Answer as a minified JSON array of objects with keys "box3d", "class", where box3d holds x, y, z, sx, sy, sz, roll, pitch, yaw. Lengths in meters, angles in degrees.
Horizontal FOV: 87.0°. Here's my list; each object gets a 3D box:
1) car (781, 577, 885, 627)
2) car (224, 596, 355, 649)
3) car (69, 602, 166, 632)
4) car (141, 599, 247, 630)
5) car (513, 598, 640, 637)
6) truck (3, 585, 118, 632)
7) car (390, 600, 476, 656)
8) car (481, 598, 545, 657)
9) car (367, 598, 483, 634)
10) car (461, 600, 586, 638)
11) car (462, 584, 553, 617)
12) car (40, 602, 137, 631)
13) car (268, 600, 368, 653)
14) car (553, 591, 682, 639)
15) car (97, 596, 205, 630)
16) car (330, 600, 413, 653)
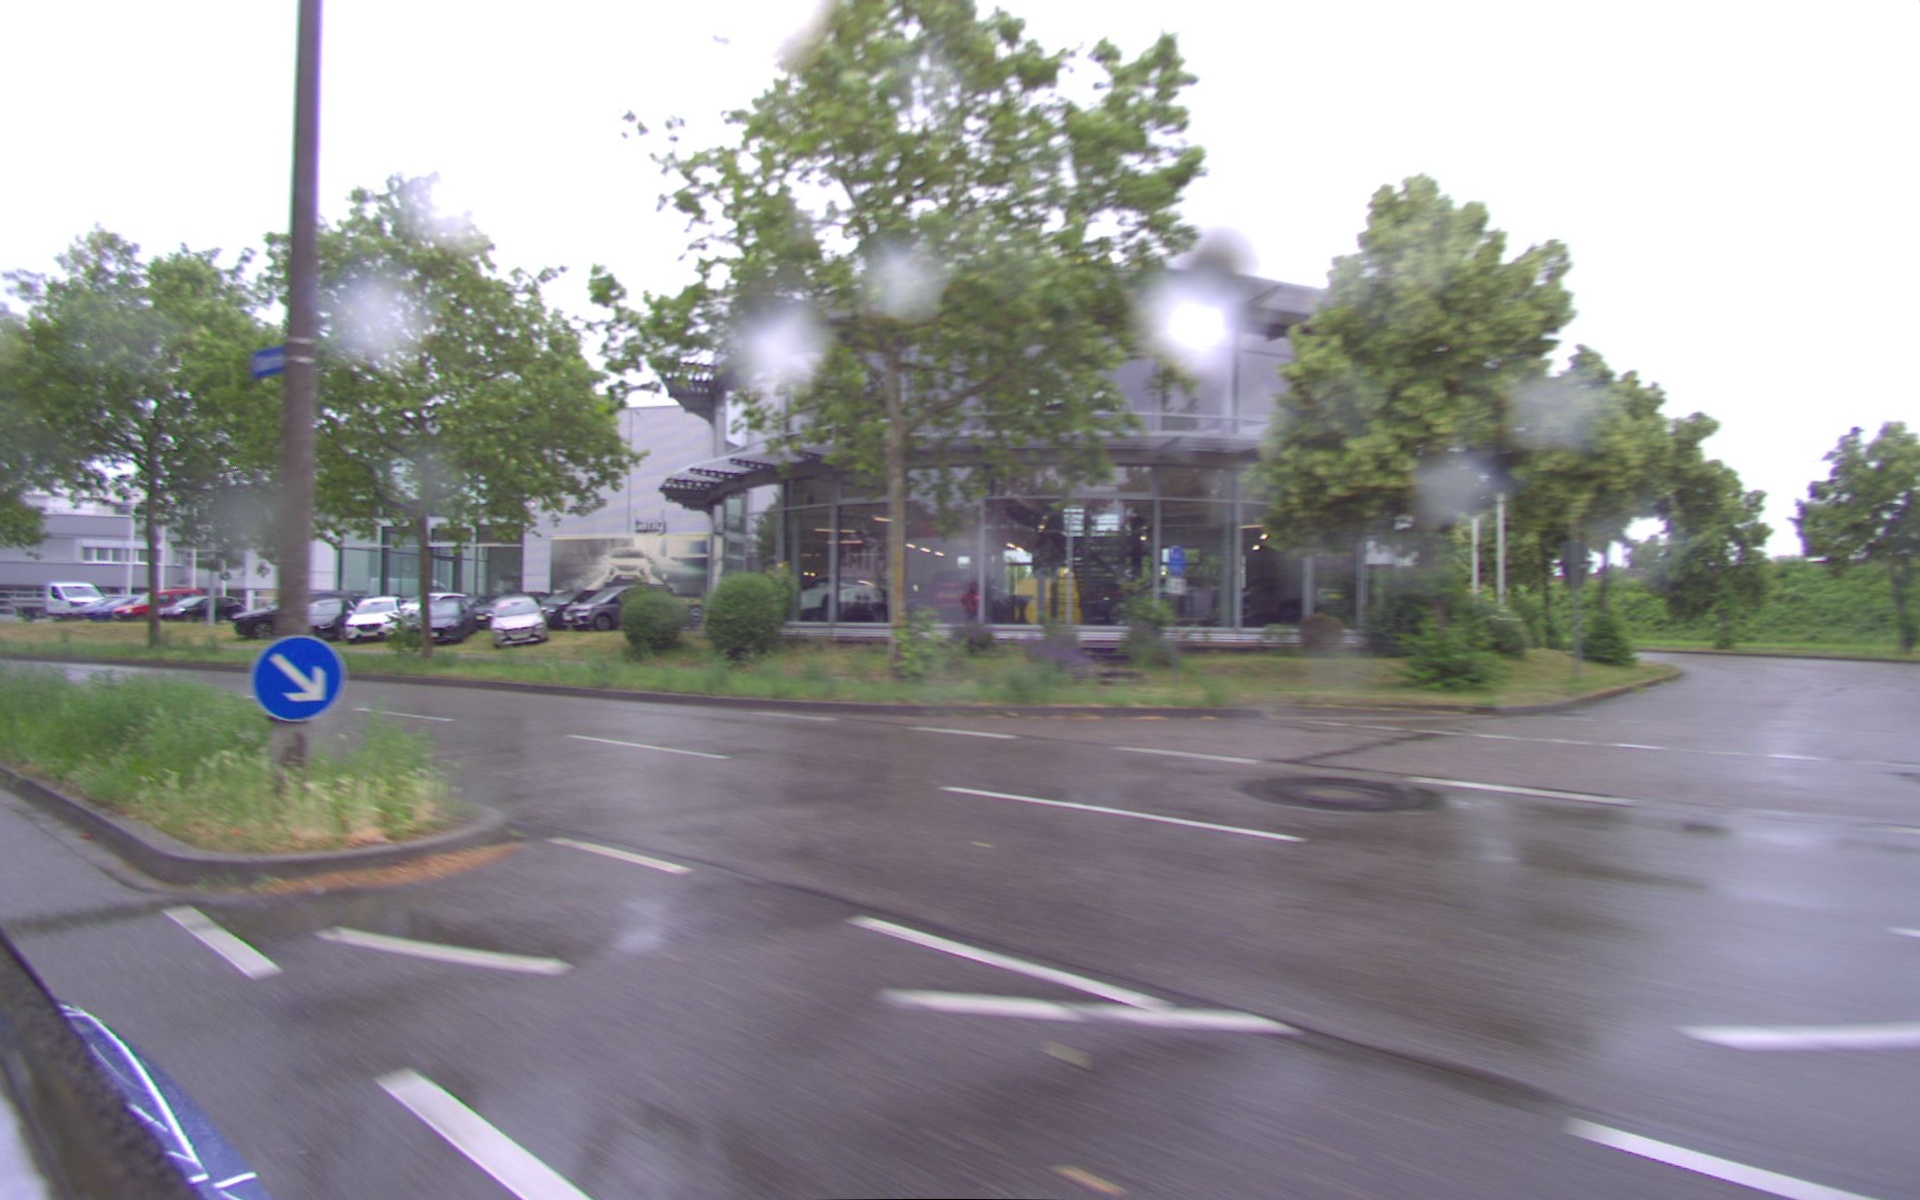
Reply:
[{"box3d":[-4.176,0.099,32.723,1.754,1.487,4.124,0,-1,-32],"class":"car"},{"box3d":[-28.096,0.904,42.486,4.366,1.568,1.852,-8,7,-36],"class":"car"},{"box3d":[-44.359,0.873,53.377,1.755,1.336,3.511,-2,1,20],"class":"car"},{"box3d":[-39.238,0.697,51.963,1.833,1.367,3.983,-2,1,20],"class":"car"},{"box3d":[-15.355,0.702,40.676,4.370,1.485,1.921,0,-1,-45],"class":"car"},{"box3d":[-50.449,0.477,56.761,6.150,2.362,2.238,-2,1,21],"class":"truck"},{"box3d":[-18.755,0.932,36.205,1.817,1.432,4.143,-5,6,-15],"class":"car"},{"box3d":[-15.123,0.869,34.263,1.754,1.486,4.014,-6,6,-23],"class":"car"},{"box3d":[-23.188,0.702,44.062,1.904,1.485,4.410,-1,-1,17],"class":"car"},{"box3d":[-17.919,0.759,41.671,4.370,1.485,1.921,0,-1,-45],"class":"car"},{"box3d":[-22.063,0.054,49.518,1.899,1.485,4.420,0,-1,11],"class":"car"},{"box3d":[-46.677,0.845,54.252,1.755,1.336,3.511,-2,1,20],"class":"car"},{"box3d":[-25.067,0.999,39.709,1.818,1.489,4.141,-5,6,-11],"class":"car"},{"box3d":[-13.305,0.571,39.480,4.370,1.751,1.921,1,-1,-45],"class":"car"},{"box3d":[-41.981,0.655,52.602,1.833,1.568,3.983,-2,1,20],"class":"car"},{"box3d":[-22.356,0.952,38.597,1.816,1.489,4.144,-6,6,-18],"class":"car"}]
